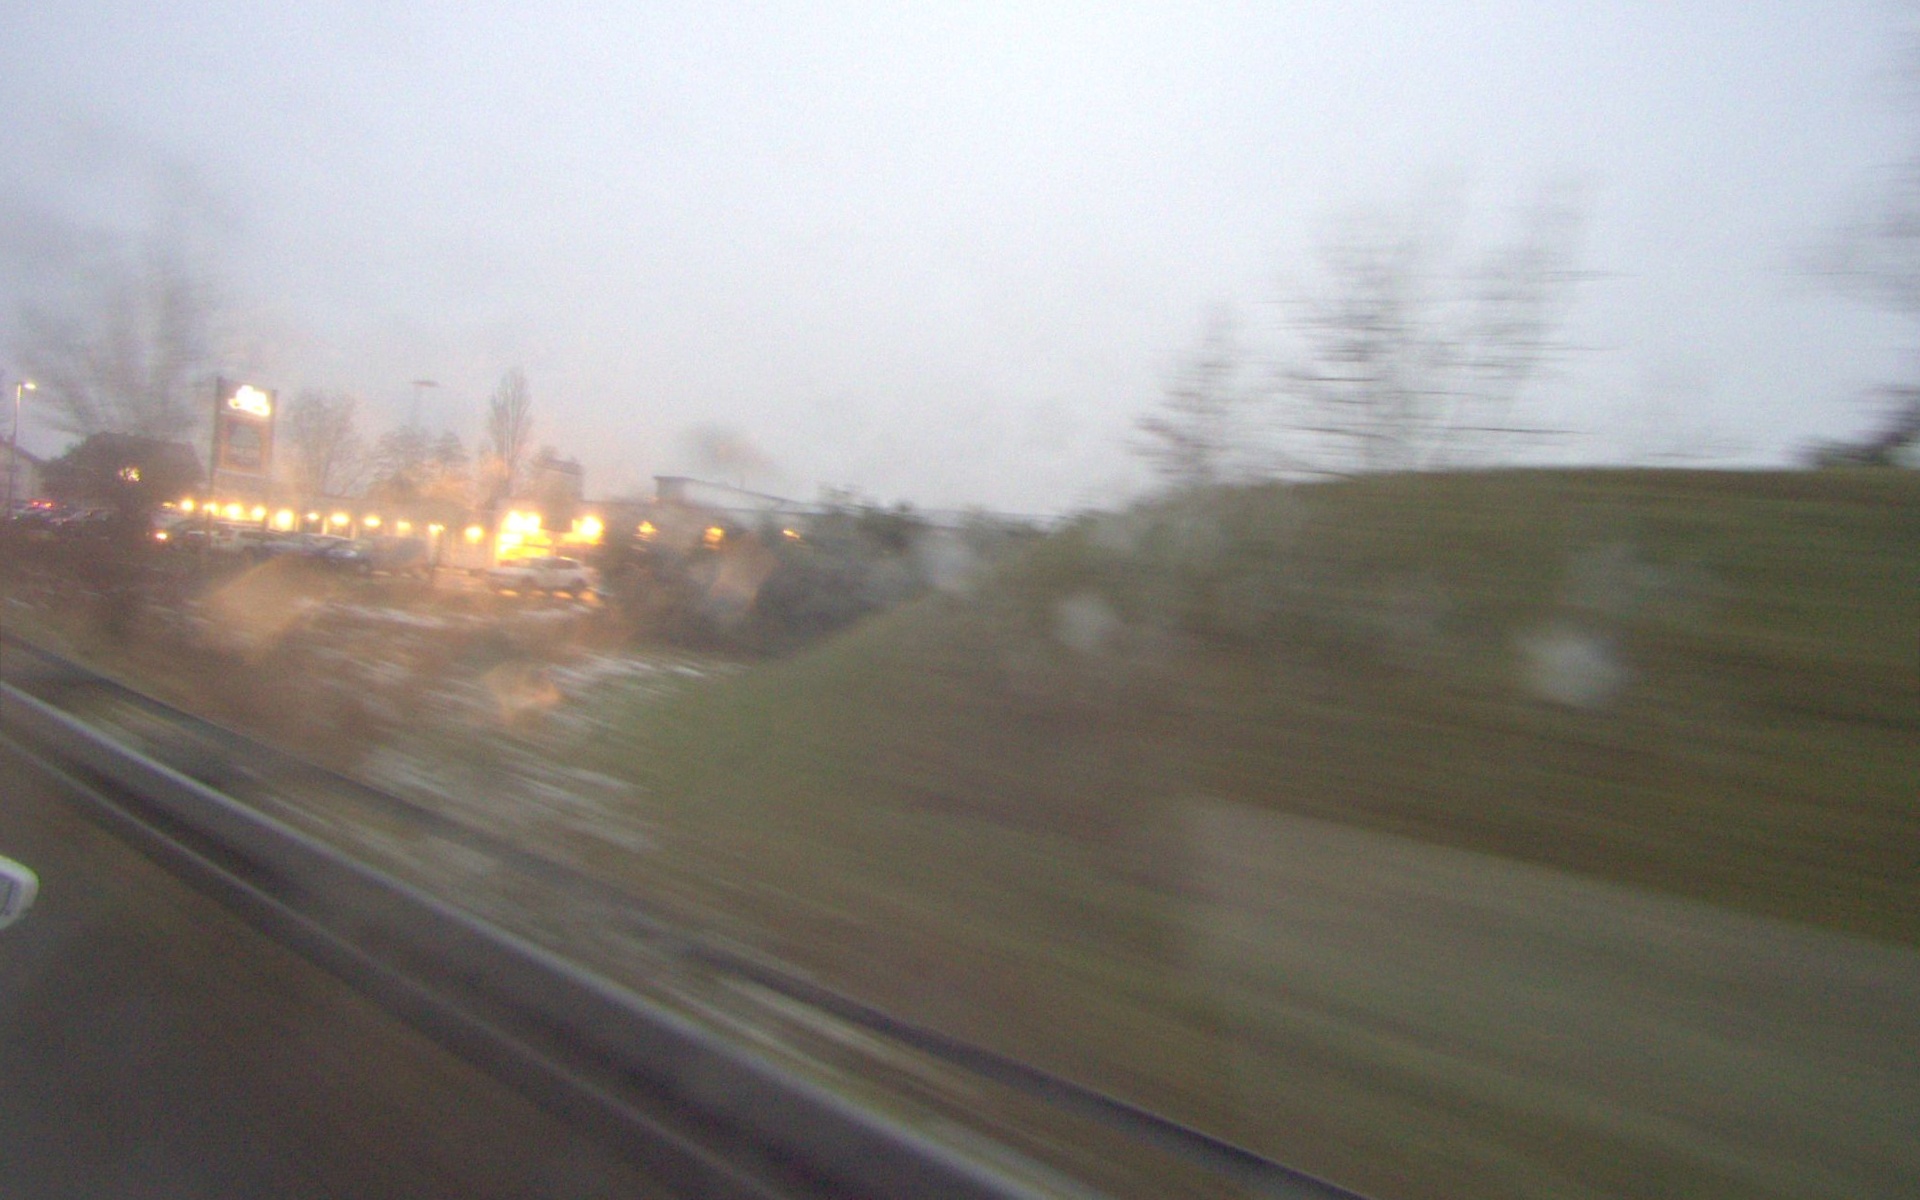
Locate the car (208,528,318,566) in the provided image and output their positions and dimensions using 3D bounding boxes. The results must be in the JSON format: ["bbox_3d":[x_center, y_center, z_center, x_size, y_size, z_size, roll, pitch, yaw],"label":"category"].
[{"bbox_3d":[-34.172,-2.570,49.424,1.633,1.440,4.134,6,1,26],"label":"car"}]

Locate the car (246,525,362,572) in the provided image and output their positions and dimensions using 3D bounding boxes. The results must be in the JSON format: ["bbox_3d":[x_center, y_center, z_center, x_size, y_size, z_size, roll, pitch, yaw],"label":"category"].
[{"bbox_3d":[-31.652,-2.453,48.671,1.963,1.650,4.261,7,0,21],"label":"car"}]

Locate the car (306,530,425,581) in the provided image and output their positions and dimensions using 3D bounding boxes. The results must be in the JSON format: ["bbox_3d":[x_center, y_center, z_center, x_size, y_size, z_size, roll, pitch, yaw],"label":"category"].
[{"bbox_3d":[-26.835,-1.968,45.579,1.963,1.878,4.258,7,1,21],"label":"car"}]

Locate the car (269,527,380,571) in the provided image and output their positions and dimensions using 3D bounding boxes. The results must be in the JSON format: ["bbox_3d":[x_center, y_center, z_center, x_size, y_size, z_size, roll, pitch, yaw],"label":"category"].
[{"bbox_3d":[-29.696,-2.358,47.119,1.963,1.495,3.875,6,-1,21],"label":"car"}]

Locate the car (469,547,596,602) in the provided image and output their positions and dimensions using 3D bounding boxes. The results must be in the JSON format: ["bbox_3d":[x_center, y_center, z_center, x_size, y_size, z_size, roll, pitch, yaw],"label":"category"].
[{"bbox_3d":[-17.259,-0.993,40.821,1.965,1.736,4.400,7,0,27],"label":"car"}]

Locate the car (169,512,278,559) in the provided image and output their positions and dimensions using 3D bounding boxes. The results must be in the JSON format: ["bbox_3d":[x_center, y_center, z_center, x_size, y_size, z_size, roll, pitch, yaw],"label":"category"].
[{"bbox_3d":[-37.381,-3.233,51.164,1.632,1.857,4.139,5,-1,23],"label":"car"}]

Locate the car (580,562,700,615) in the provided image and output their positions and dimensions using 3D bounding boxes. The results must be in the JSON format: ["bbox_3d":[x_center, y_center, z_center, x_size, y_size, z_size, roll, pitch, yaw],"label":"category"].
[{"bbox_3d":[-12.267,-0.407,38.798,1.964,1.536,4.188,8,0,25],"label":"car"}]
